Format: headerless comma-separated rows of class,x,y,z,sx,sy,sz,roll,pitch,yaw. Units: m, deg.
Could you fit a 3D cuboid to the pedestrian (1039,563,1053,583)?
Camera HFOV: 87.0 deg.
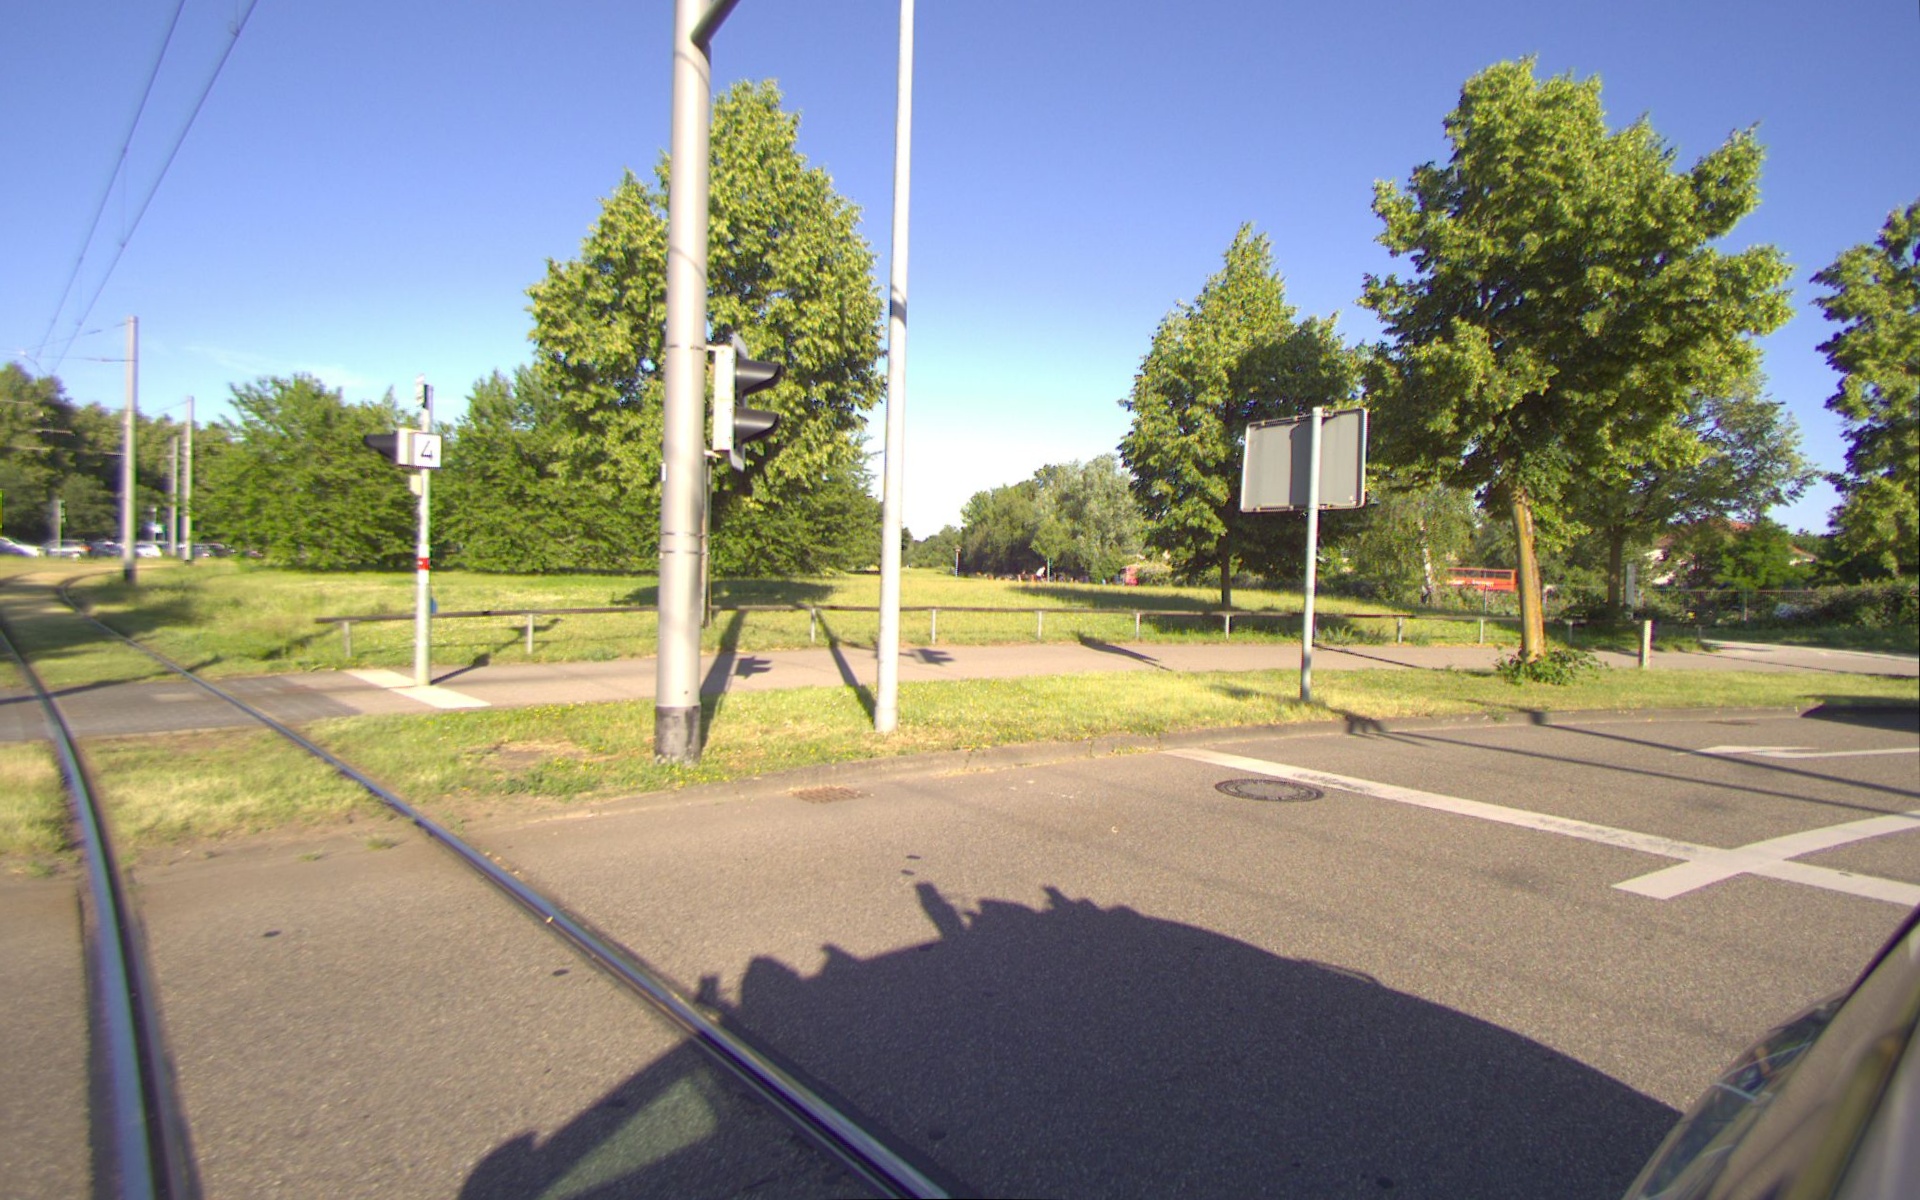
pedestrian,6.357,-2.015,74.677,0.766,1.458,0.787,3,1,25

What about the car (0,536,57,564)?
car,-62.036,-3.273,66.224,3.916,1.777,1.919,-1,2,-20

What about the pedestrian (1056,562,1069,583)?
pedestrian,7.484,-1.992,73.903,0.655,1.458,0.787,3,1,25

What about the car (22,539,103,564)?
car,-64.390,-3.464,72.667,3.916,1.777,1.919,-1,2,-20

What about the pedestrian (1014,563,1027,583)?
pedestrian,4.534,-2.038,75.635,0.680,1.458,0.787,3,1,25

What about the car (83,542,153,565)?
car,-67.503,-3.718,81.199,3.916,1.777,1.919,-1,2,-20

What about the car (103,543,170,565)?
car,-68.669,-3.814,84.436,3.916,1.777,1.919,-1,2,-20

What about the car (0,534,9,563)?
car,-60.667,-3.127,61.362,3.916,1.777,1.919,-1,2,-20

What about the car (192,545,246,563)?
car,-74.040,-4.579,101.176,3.916,1.777,1.919,-1,2,-20

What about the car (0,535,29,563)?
car,-61.573,-3.197,63.714,3.916,1.777,1.919,-1,2,-20

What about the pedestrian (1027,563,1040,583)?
pedestrian,5.408,-2.015,74.825,0.680,1.458,0.787,3,1,25
